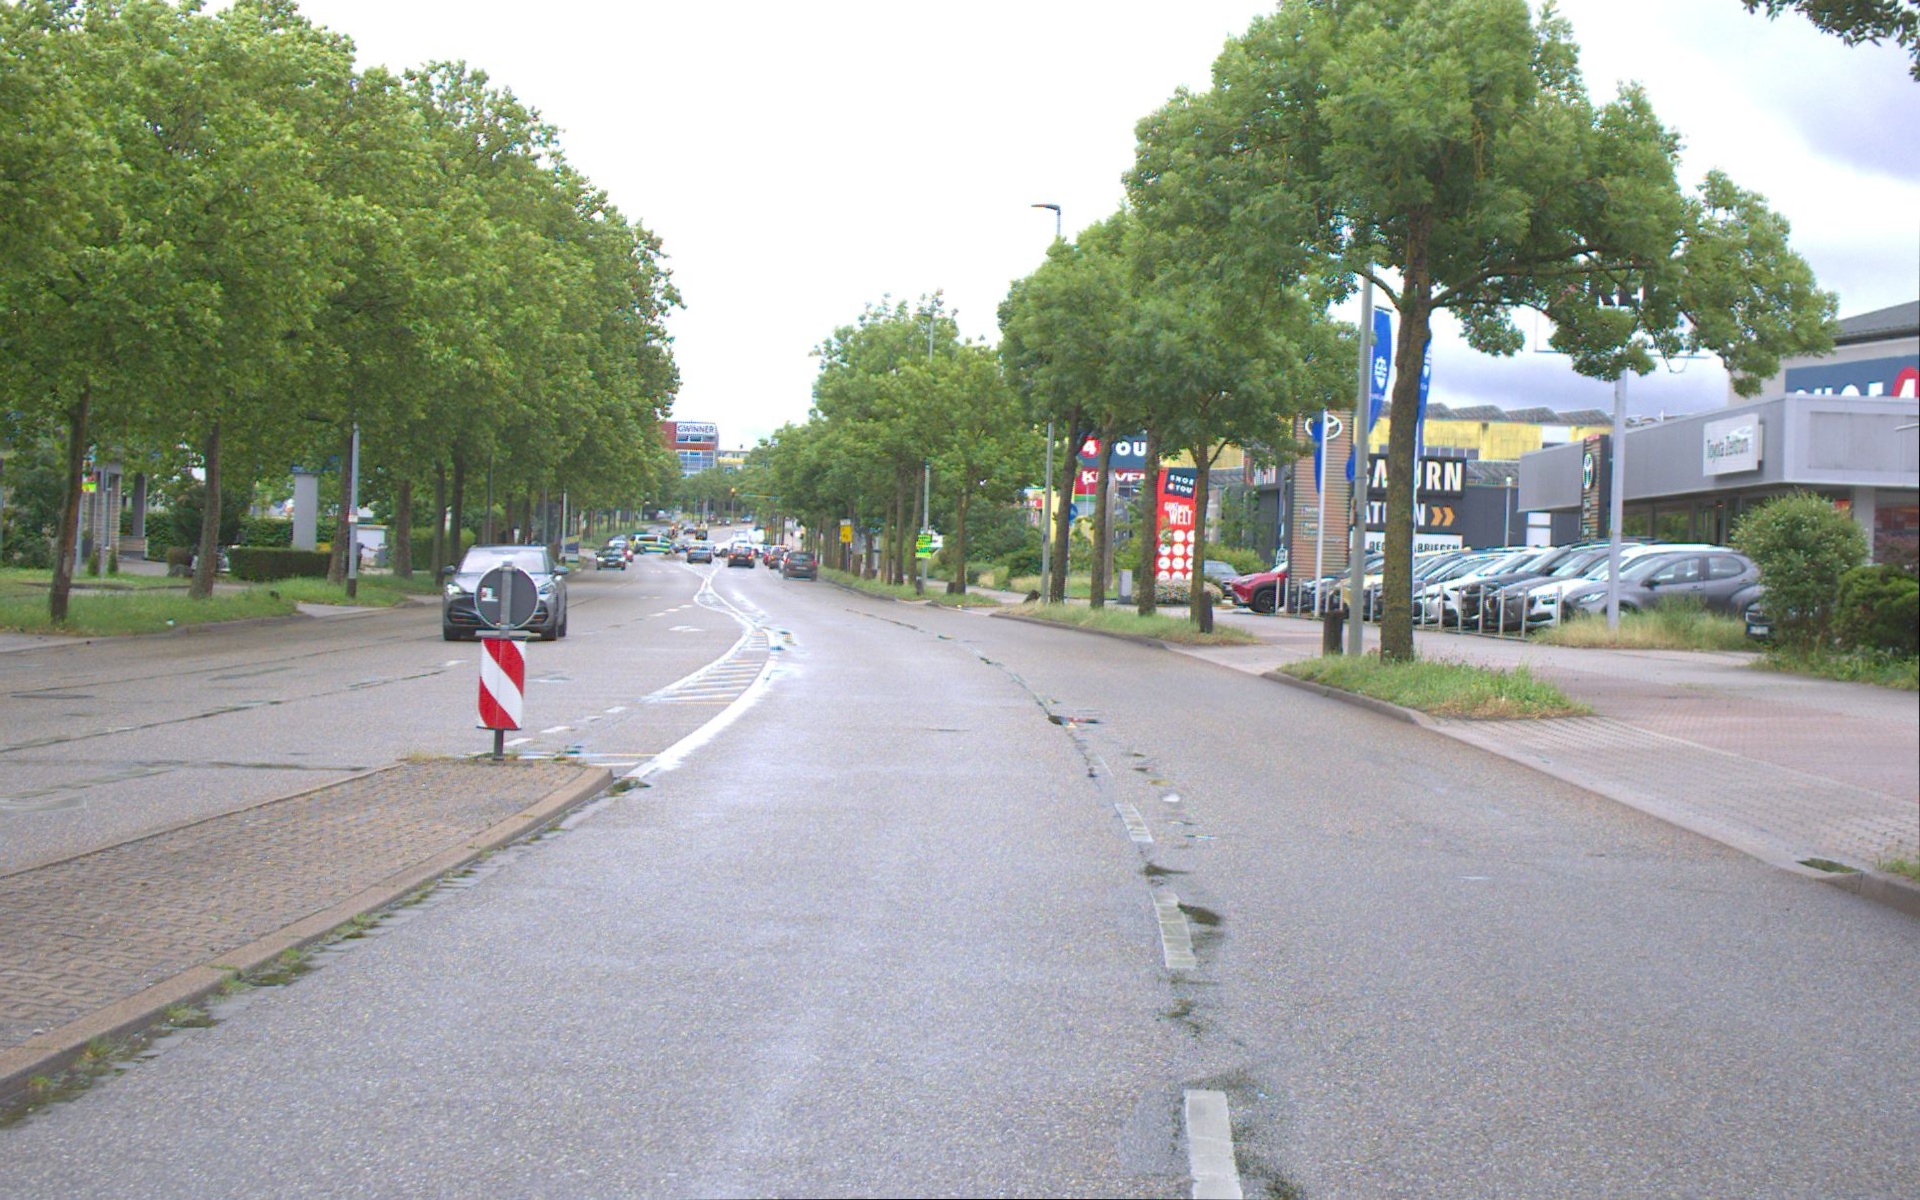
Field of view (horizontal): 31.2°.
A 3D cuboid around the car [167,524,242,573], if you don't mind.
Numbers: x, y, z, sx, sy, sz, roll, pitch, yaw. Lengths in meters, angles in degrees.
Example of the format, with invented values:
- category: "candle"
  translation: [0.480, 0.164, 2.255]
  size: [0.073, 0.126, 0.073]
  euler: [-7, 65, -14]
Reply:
- category: "car"
  translation: [-23.833, -1.640, 108.568]
  size: [1.823, 1.481, 3.940]
  euler: [1, 1, -5]

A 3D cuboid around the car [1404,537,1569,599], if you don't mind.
- category: "car"
  translation: [13.907, -0.840, 90.957]
  size: [4.109, 1.616, 1.880]
  euler: [0, 1, 1]

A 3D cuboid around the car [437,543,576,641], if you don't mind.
- category: "car"
  translation: [-7.599, -0.143, 57.927]
  size: [1.811, 1.556, 4.598]
  euler: [1, 0, -1]

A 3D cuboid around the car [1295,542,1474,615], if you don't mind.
- category: "car"
  translation: [9.933, -0.511, 80.608]
  size: [3.838, 1.560, 1.667]
  euler: [-2, 1, -6]

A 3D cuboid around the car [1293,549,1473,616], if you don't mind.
- category: "car"
  translation: [10.140, -0.425, 82.545]
  size: [3.986, 1.533, 1.800]
  euler: [1, 1, -3]

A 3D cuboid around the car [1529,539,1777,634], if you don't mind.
- category: "car"
  translation: [12.036, -0.252, 59.865]
  size: [3.832, 1.456, 1.828]
  euler: [-3, 1, -4]

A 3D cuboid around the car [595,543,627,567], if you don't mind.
- category: "car"
  translation: [-21.250, -2.759, 209.453]
  size: [1.804, 1.458, 3.846]
  euler: [0, 1, -3]

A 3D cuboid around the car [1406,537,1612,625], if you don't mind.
- category: "car"
  translation: [11.537, -0.409, 72.407]
  size: [3.987, 1.780, 1.812]
  euler: [1, 1, -1]

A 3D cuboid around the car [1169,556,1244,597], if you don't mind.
- category: "car"
  translation: [9.401, -0.912, 131.340]
  size: [1.577, 1.423, 4.267]
  euler: [1, 1, -14]

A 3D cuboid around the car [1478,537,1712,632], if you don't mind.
- category: "car"
  translation: [11.941, -0.304, 64.771]
  size: [3.987, 1.579, 1.812]
  euler: [-3, 1, -1]

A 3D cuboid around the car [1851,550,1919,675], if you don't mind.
- category: "car"
  translation: [13.798, 0.176, 44.939]
  size: [4.058, 1.592, 1.983]
  euler: [1, 1, 18]

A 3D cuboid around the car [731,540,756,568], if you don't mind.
- category: "car"
  translation: [-16.130, -3.419, 256.105]
  size: [1.745, 2.007, 4.001]
  euler: [1, 1, -3]

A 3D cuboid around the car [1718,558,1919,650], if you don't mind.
- category: "car"
  translation: [14.507, 0.056, 56.390]
  size: [3.678, 1.459, 1.794]
  euler: [1, 1, -3]

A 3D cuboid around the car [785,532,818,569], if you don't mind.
- category: "car"
  translation: [-8.669, -2.708, 188.220]
  size: [1.745, 2.007, 4.001]
  euler: [1, 1, -3]

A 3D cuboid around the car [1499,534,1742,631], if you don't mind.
- category: "car"
  translation: [11.993, -0.328, 62.562]
  size: [3.987, 1.538, 1.812]
  euler: [-3, 1, -1]

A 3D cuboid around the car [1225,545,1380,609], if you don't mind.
- category: "car"
  translation: [9.043, -0.619, 90.922]
  size: [3.841, 1.598, 1.795]
  euler: [-1, 1, -3]

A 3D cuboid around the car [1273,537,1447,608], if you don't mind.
- category: "car"
  translation: [9.874, -0.692, 85.005]
  size: [3.986, 1.641, 1.845]
  euler: [-1, 1, -3]

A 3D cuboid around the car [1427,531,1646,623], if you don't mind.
- category: "car"
  translation: [11.657, -0.474, 69.675]
  size: [3.986, 1.582, 1.812]
  euler: [-4, 2, -4]

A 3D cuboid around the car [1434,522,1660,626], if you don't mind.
- category: "car"
  translation: [11.378, -0.509, 66.802]
  size: [3.987, 1.780, 1.812]
  euler: [-3, 1, -1]
